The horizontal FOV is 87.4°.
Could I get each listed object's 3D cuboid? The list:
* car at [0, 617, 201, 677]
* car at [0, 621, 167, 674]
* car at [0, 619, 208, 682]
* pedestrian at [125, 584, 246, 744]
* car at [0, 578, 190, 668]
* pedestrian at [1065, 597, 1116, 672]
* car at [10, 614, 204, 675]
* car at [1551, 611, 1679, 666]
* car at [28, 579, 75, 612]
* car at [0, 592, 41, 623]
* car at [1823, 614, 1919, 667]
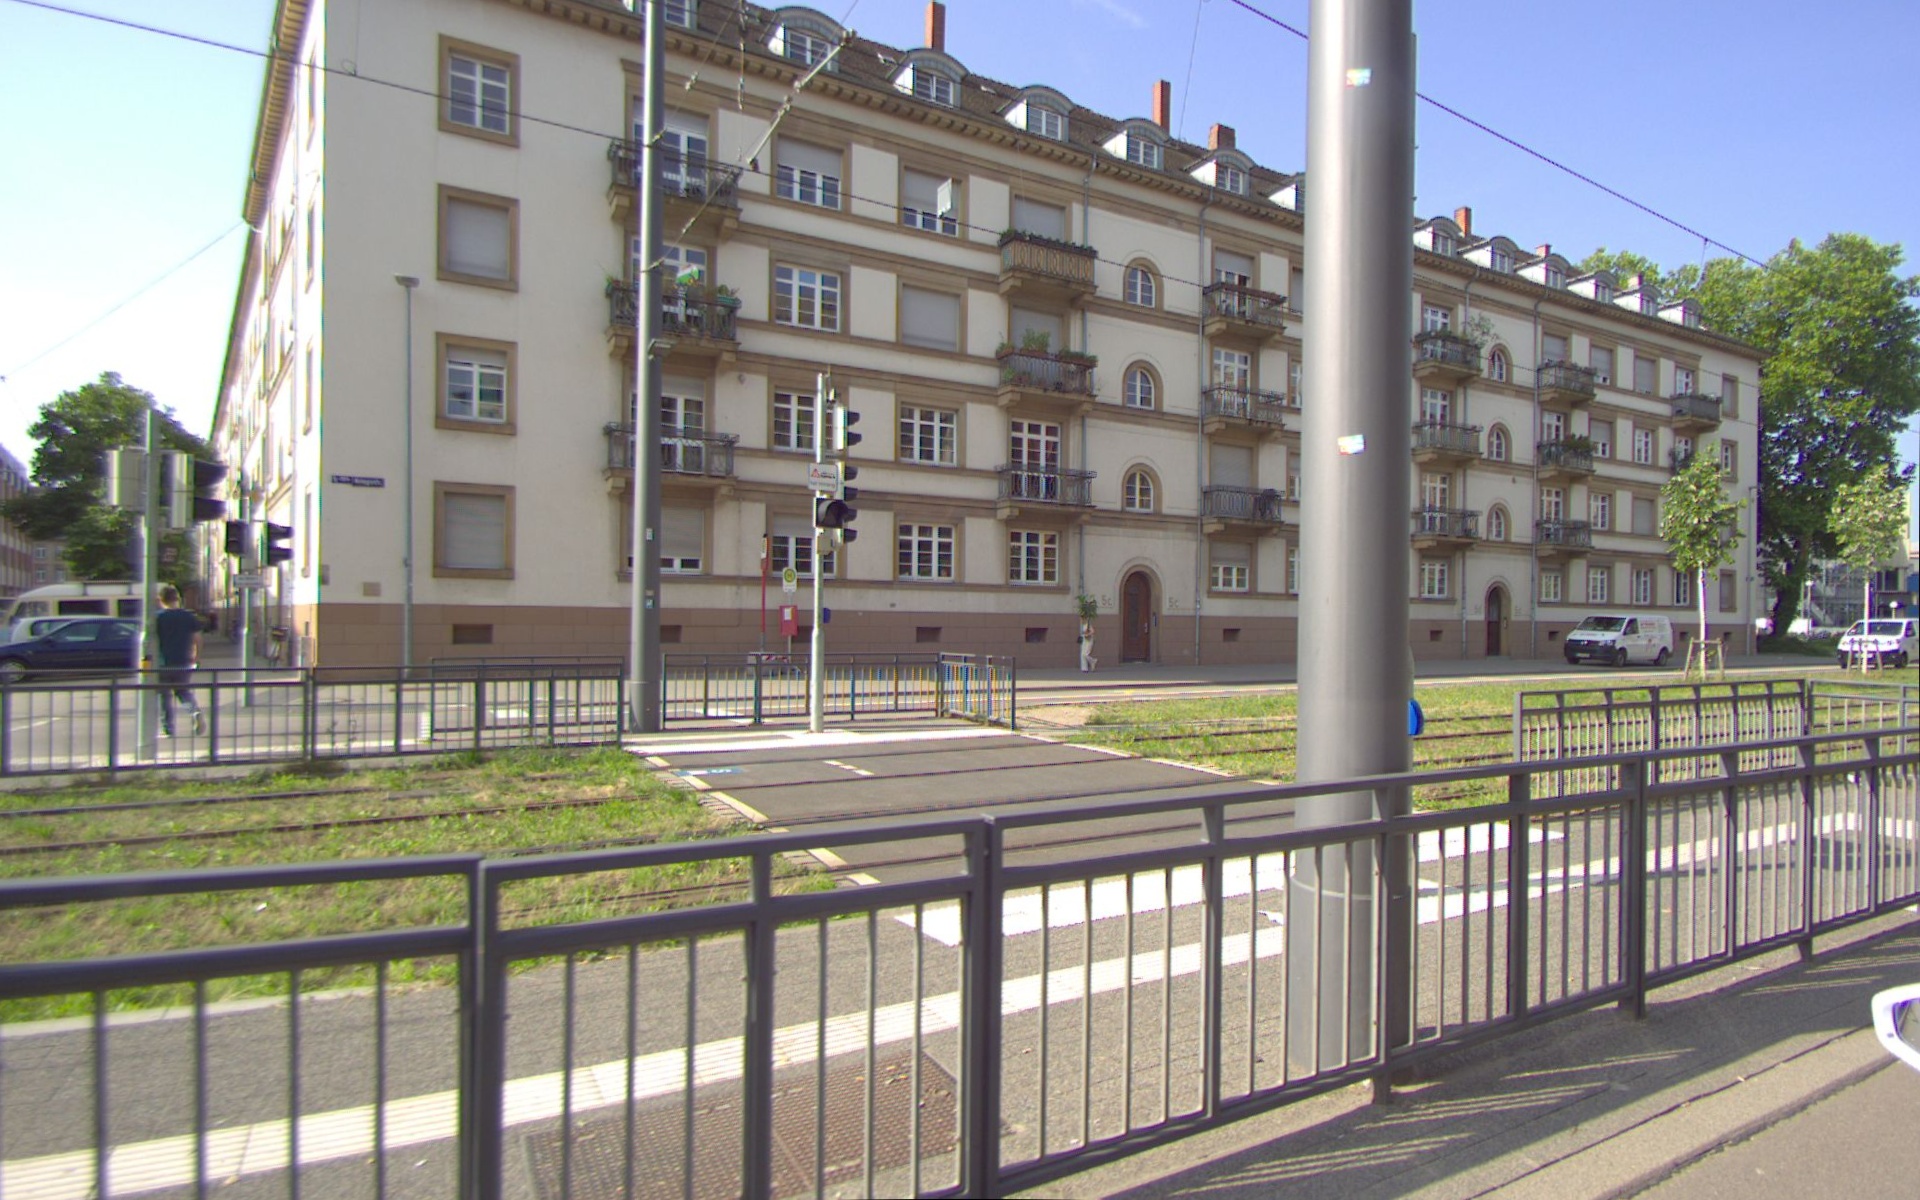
[{"bbox_3d":[-21.858,1.154,25.566,3.960,1.424,1.662,1,-1,-35],"label":"car"},{"bbox_3d":[-25.540,1.349,29.099,3.887,1.434,1.662,1,-1,-35],"label":"car"},{"bbox_3d":[-20.089,1.141,23.480,3.962,1.372,1.569,1,-1,-37],"label":"car"},{"bbox_3d":[-9.649,0.761,12.520,1.053,1.892,0.862,1,-1,33],"label":"pedestrian"},{"bbox_3d":[-26.877,0.706,30.896,5.007,2.618,1.979,1,-1,-37],"label":"car"},{"bbox_3d":[3.694,0.967,28.473,1.142,2.096,0.838,1,0,-29],"label":"pedestrian"},{"bbox_3d":[-23.270,1.189,27.621,3.887,1.553,1.662,1,-1,-35],"label":"car"},{"bbox_3d":[25.219,1.437,38.650,5.090,1.944,1.984,1,1,-29],"label":"car"},{"bbox_3d":[-84.303,-0.355,93.330,2.563,2.944,5.929,1,-1,-36],"label":"car"},{"bbox_3d":[-72.995,0.567,78.057,1.812,2.342,4.071,1,-1,-36],"label":"car"},{"bbox_3d":[35.832,1.546,38.972,4.985,1.920,1.985,1,-1,-29],"label":"car"}]
